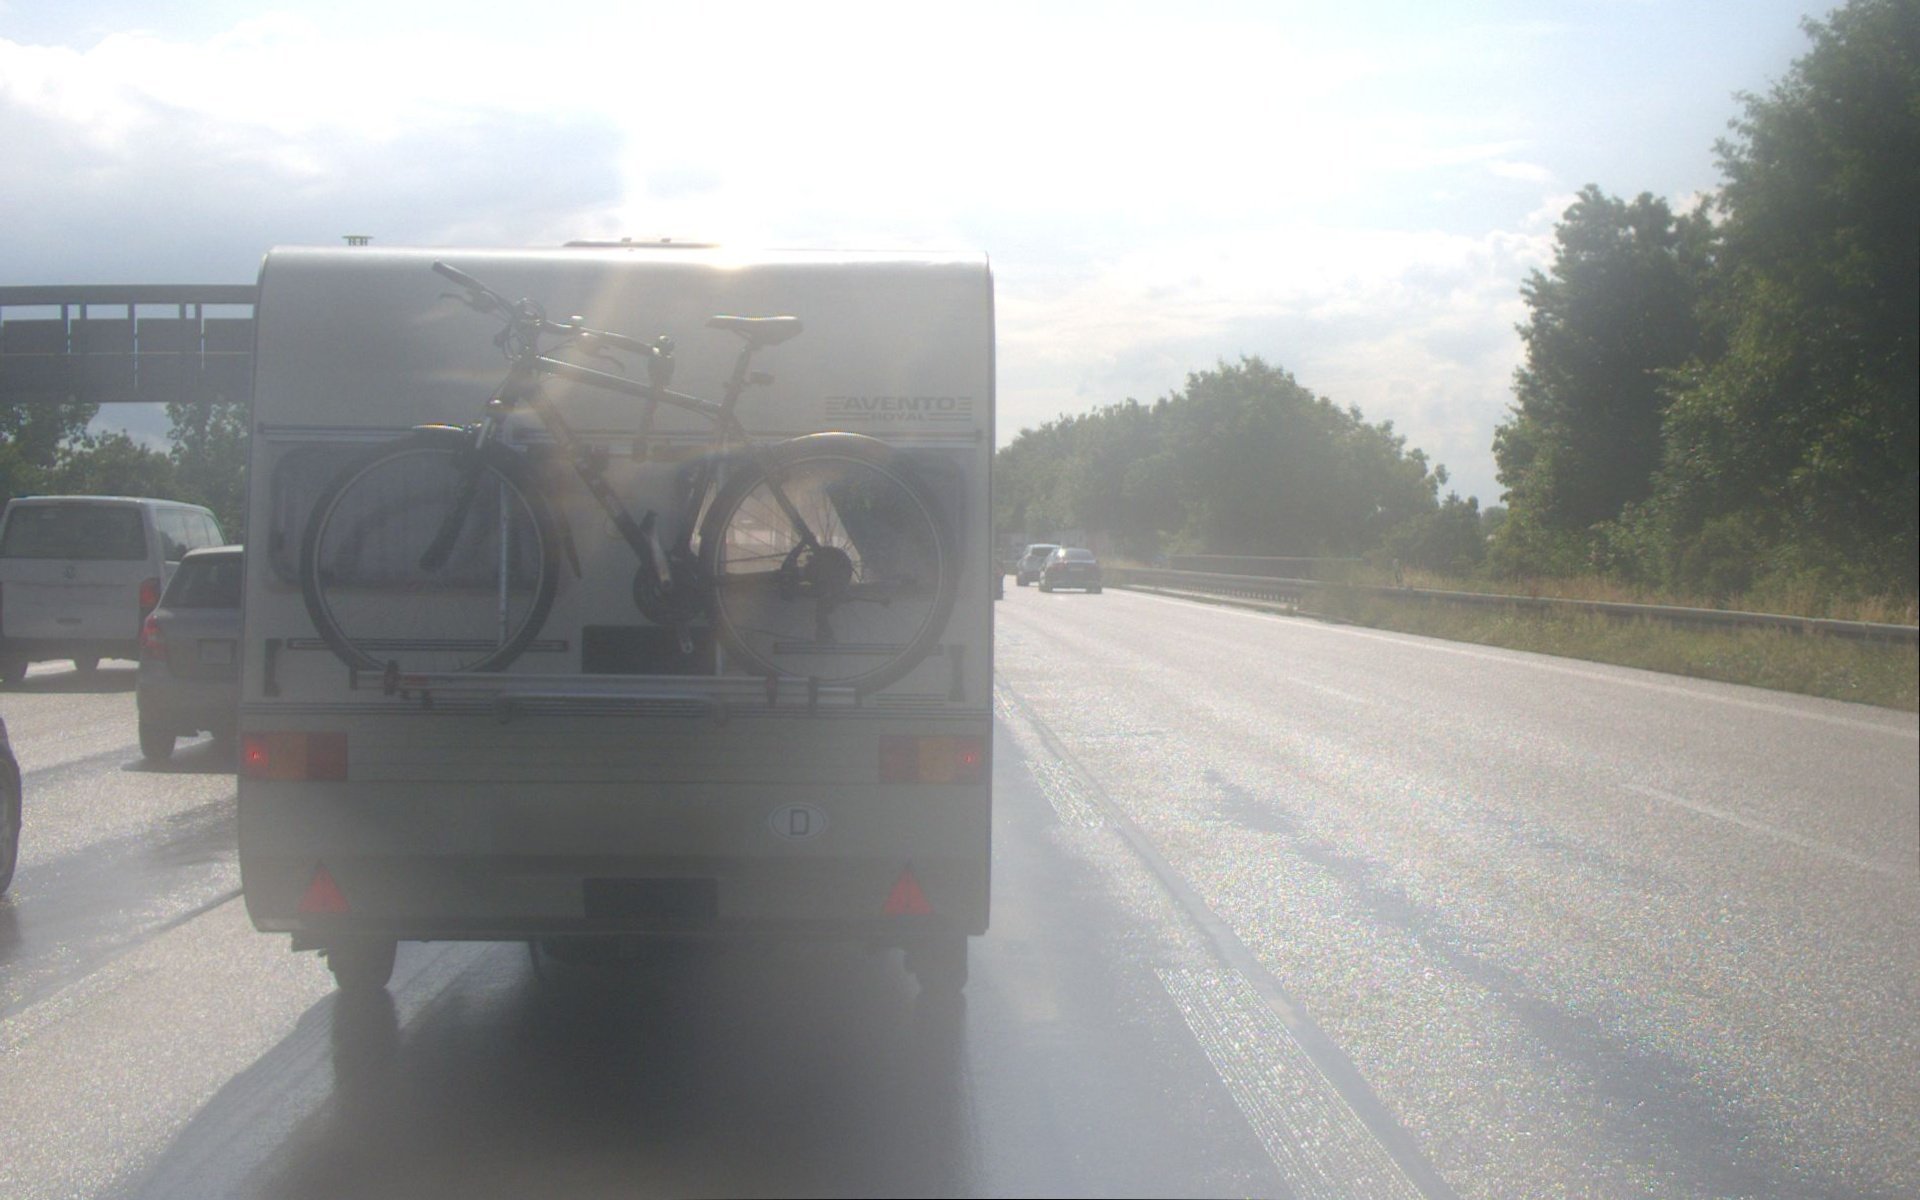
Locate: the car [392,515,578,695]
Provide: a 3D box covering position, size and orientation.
[{"bbox_3d":[-5.577,0.028,40.759,1.876,2.007,4.001,1,1,-4],"label":"car"}]

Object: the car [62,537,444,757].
[{"bbox_3d":[-5.000,0.278,24.841,1.987,1.453,3.827,0,1,0],"label":"car"}]

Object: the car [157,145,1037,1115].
[{"bbox_3d":[-1.021,0.061,11.551,2.410,2.665,4.000,1,1,0],"label":"car"}]

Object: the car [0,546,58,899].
[{"bbox_3d":[-4.788,0.516,12.926,1.758,1.438,4.000,0,1,0],"label":"car"}]

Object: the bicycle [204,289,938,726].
[{"bbox_3d":[-1.038,-0.249,9.334,1.934,1.137,0.384,1,1,1],"label":"bicycle"}]

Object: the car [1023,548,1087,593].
[{"bbox_3d":[3.229,-1.019,117.375,1.876,1.489,4.000,1,1,-2],"label":"car"}]

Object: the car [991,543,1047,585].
[{"bbox_3d":[2.315,-1.434,135.757,1.876,1.623,4.001,1,1,-4],"label":"car"}]

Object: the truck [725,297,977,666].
[{"bbox_3d":[-1.565,-1.576,48.590,3.146,4.610,10.737,0,1,-2],"label":"truck"}]

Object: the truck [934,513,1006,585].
[{"bbox_3d":[0.329,-1.792,120.250,2.415,2.435,6.053,0,1,0],"label":"truck"}]

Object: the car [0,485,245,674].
[{"bbox_3d":[-9.207,-0.258,37.600,1.847,1.927,5.017,0,1,-2],"label":"car"}]

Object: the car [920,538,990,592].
[{"bbox_3d":[-0.162,-1.045,102.583,1.835,1.552,4.001,1,1,-3],"label":"car"}]
